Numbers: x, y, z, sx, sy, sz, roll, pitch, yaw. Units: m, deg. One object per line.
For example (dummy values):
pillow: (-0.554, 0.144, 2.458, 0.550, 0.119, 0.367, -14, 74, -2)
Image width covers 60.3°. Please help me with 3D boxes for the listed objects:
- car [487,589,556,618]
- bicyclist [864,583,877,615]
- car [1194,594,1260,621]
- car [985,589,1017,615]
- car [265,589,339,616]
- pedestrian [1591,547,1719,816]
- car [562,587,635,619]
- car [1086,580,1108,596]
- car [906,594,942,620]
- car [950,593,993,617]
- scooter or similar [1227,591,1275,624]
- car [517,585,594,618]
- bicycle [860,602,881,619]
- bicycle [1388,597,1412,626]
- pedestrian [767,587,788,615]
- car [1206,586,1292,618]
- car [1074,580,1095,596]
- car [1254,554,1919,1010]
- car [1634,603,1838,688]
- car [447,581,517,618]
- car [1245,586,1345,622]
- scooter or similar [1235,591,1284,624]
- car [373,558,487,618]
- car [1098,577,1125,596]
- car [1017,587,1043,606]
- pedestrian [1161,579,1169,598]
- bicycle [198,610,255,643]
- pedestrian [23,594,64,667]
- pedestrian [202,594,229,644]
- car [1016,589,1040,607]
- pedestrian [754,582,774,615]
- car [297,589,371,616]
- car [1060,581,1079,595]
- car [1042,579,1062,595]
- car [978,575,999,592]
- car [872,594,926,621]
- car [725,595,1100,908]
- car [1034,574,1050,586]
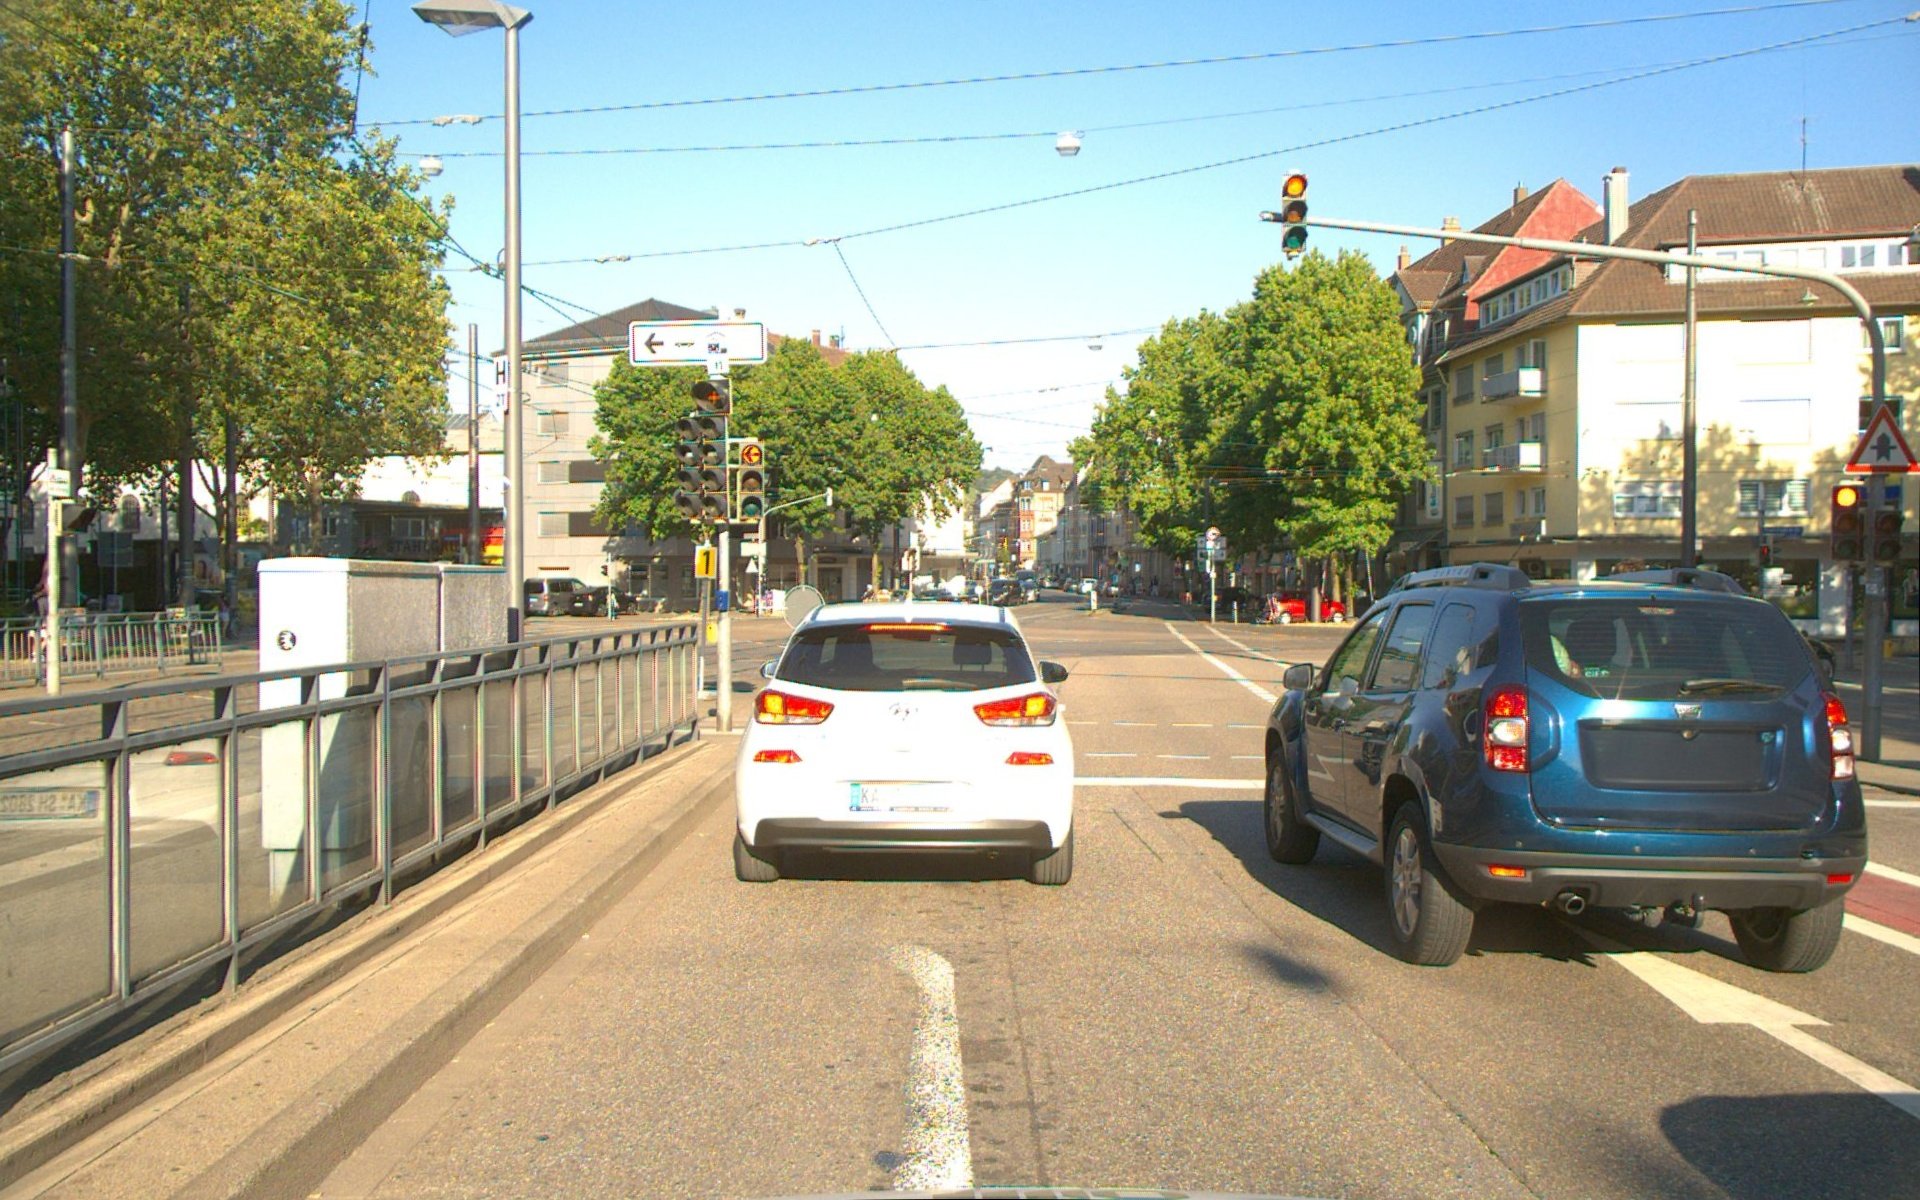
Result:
car: (-23.853, 0.183, 90.199, 1.756, 1.537, 4.012, 0, 0, 18)
bicyclist: (-4.999, -0.077, 92.204, 0.458, 1.776, 0.717, 0, 0, 22)
car: (15.656, 0.448, 96.770, 3.967, 1.537, 1.772, 0, 0, -43)
car: (2.960, 0.143, 118.160, 1.756, 1.858, 4.004, 0, 0, 10)
car: (-38.458, 0.111, 96.739, 1.758, 1.537, 3.999, 0, 0, 23)
pedestrian: (5.066, 0.577, 12.089, 0.643, 1.904, 0.677, 0, 0, -1)
car: (-19.100, 0.142, 87.536, 1.881, 1.677, 4.181, 0, 0, 20)
car: (13.354, -1.143, 161.071, 1.758, 1.537, 3.999, 0, 0, -1)
car: (-2.227, 0.443, 102.601, 1.756, 1.537, 4.003, 0, 0, 6)
car: (0.801, 0.330, 110.700, 1.756, 1.537, 4.002, 0, 0, 18)
scooter or similar: (11.620, 0.289, 66.124, 1.915, 1.303, 0.550, 0, 0, 41)
car: (-21.536, 0.063, 88.170, 1.760, 1.677, 4.004, 0, 0, 28)
bicycle: (-5.001, 0.580, 92.202, 0.458, 0.973, 1.767, 0, 0, 22)
bicycle: (17.602, 0.462, 66.144, 0.596, 1.127, 1.801, 0, 0, 4)
pedestrian: (-10.077, 0.049, 91.272, 0.786, 1.510, 0.861, 0, 0, 25)
car: (14.400, 0.096, 82.544, 3.910, 1.537, 1.798, 0, 0, -7)
car: (12.617, -1.194, 167.222, 1.758, 1.537, 3.999, 0, 0, -1)
car: (2.724, 0.660, 8.099, 1.764, 1.666, 4.044, 0, 0, -1)
car: (14.716, 0.824, 31.301, 3.999, 1.464, 1.784, 0, 1, -36)
car: (-26.294, -0.035, 91.062, 1.756, 1.990, 4.002, 0, 0, 18)
car: (14.605, 0.152, 72.126, 3.913, 1.537, 1.796, 0, 0, -9)
scooter or similar: (12.069, 0.303, 66.680, 1.915, 1.303, 0.550, 0, 0, 41)
car: (-29.391, -0.643, 92.026, 2.445, 3.220, 6.534, 0, 0, 22)
car: (14.118, -1.244, 154.553, 2.062, 1.807, 4.340, 0, 0, -1)
car: (5.622, -0.294, 132.811, 1.758, 1.537, 3.999, 0, 0, -2)
pedestrian: (18.108, -1.035, 146.222, 0.634, 1.680, 0.651, 1, -1, 10)
bicycle: (-25.143, 0.908, 56.698, 1.757, 1.127, 0.500, 0, 0, 2)
pedestrian: (-19.912, 0.649, 35.934, 0.524, 1.579, 0.677, 0, 0, -1)
pedestrian: (-25.300, 0.629, 56.217, 0.634, 1.690, 0.650, 0, 0, 2)
car: (5.785, -0.176, 140.805, 1.758, 1.537, 3.999, 0, 0, -2)
pedestrian: (-10.606, -0.079, 89.448, 0.820, 1.802, 0.782, 0, 0, 25)
car: (-36.085, 0.139, 95.403, 1.758, 1.537, 3.999, 0, 0, 23)
car: (12.320, -1.309, 186.455, 1.758, 1.549, 3.999, 0, 0, -1)
car: (11.734, -1.695, 211.468, 2.280, 2.049, 4.975, 0, 0, -1)
car: (2.677, -1.535, 155.686, 1.758, 1.537, 3.999, 0, 0, -2)
car: (-3.536, 0.446, 96.593, 1.689, 1.537, 3.874, 0, 0, 24)
car: (-0.264, 0.720, 9.914, 1.771, 1.478, 3.999, 1, 0, -1)
car: (10.741, -2.575, 216.924, 1.758, 1.537, 3.999, 0, 0, -1)
